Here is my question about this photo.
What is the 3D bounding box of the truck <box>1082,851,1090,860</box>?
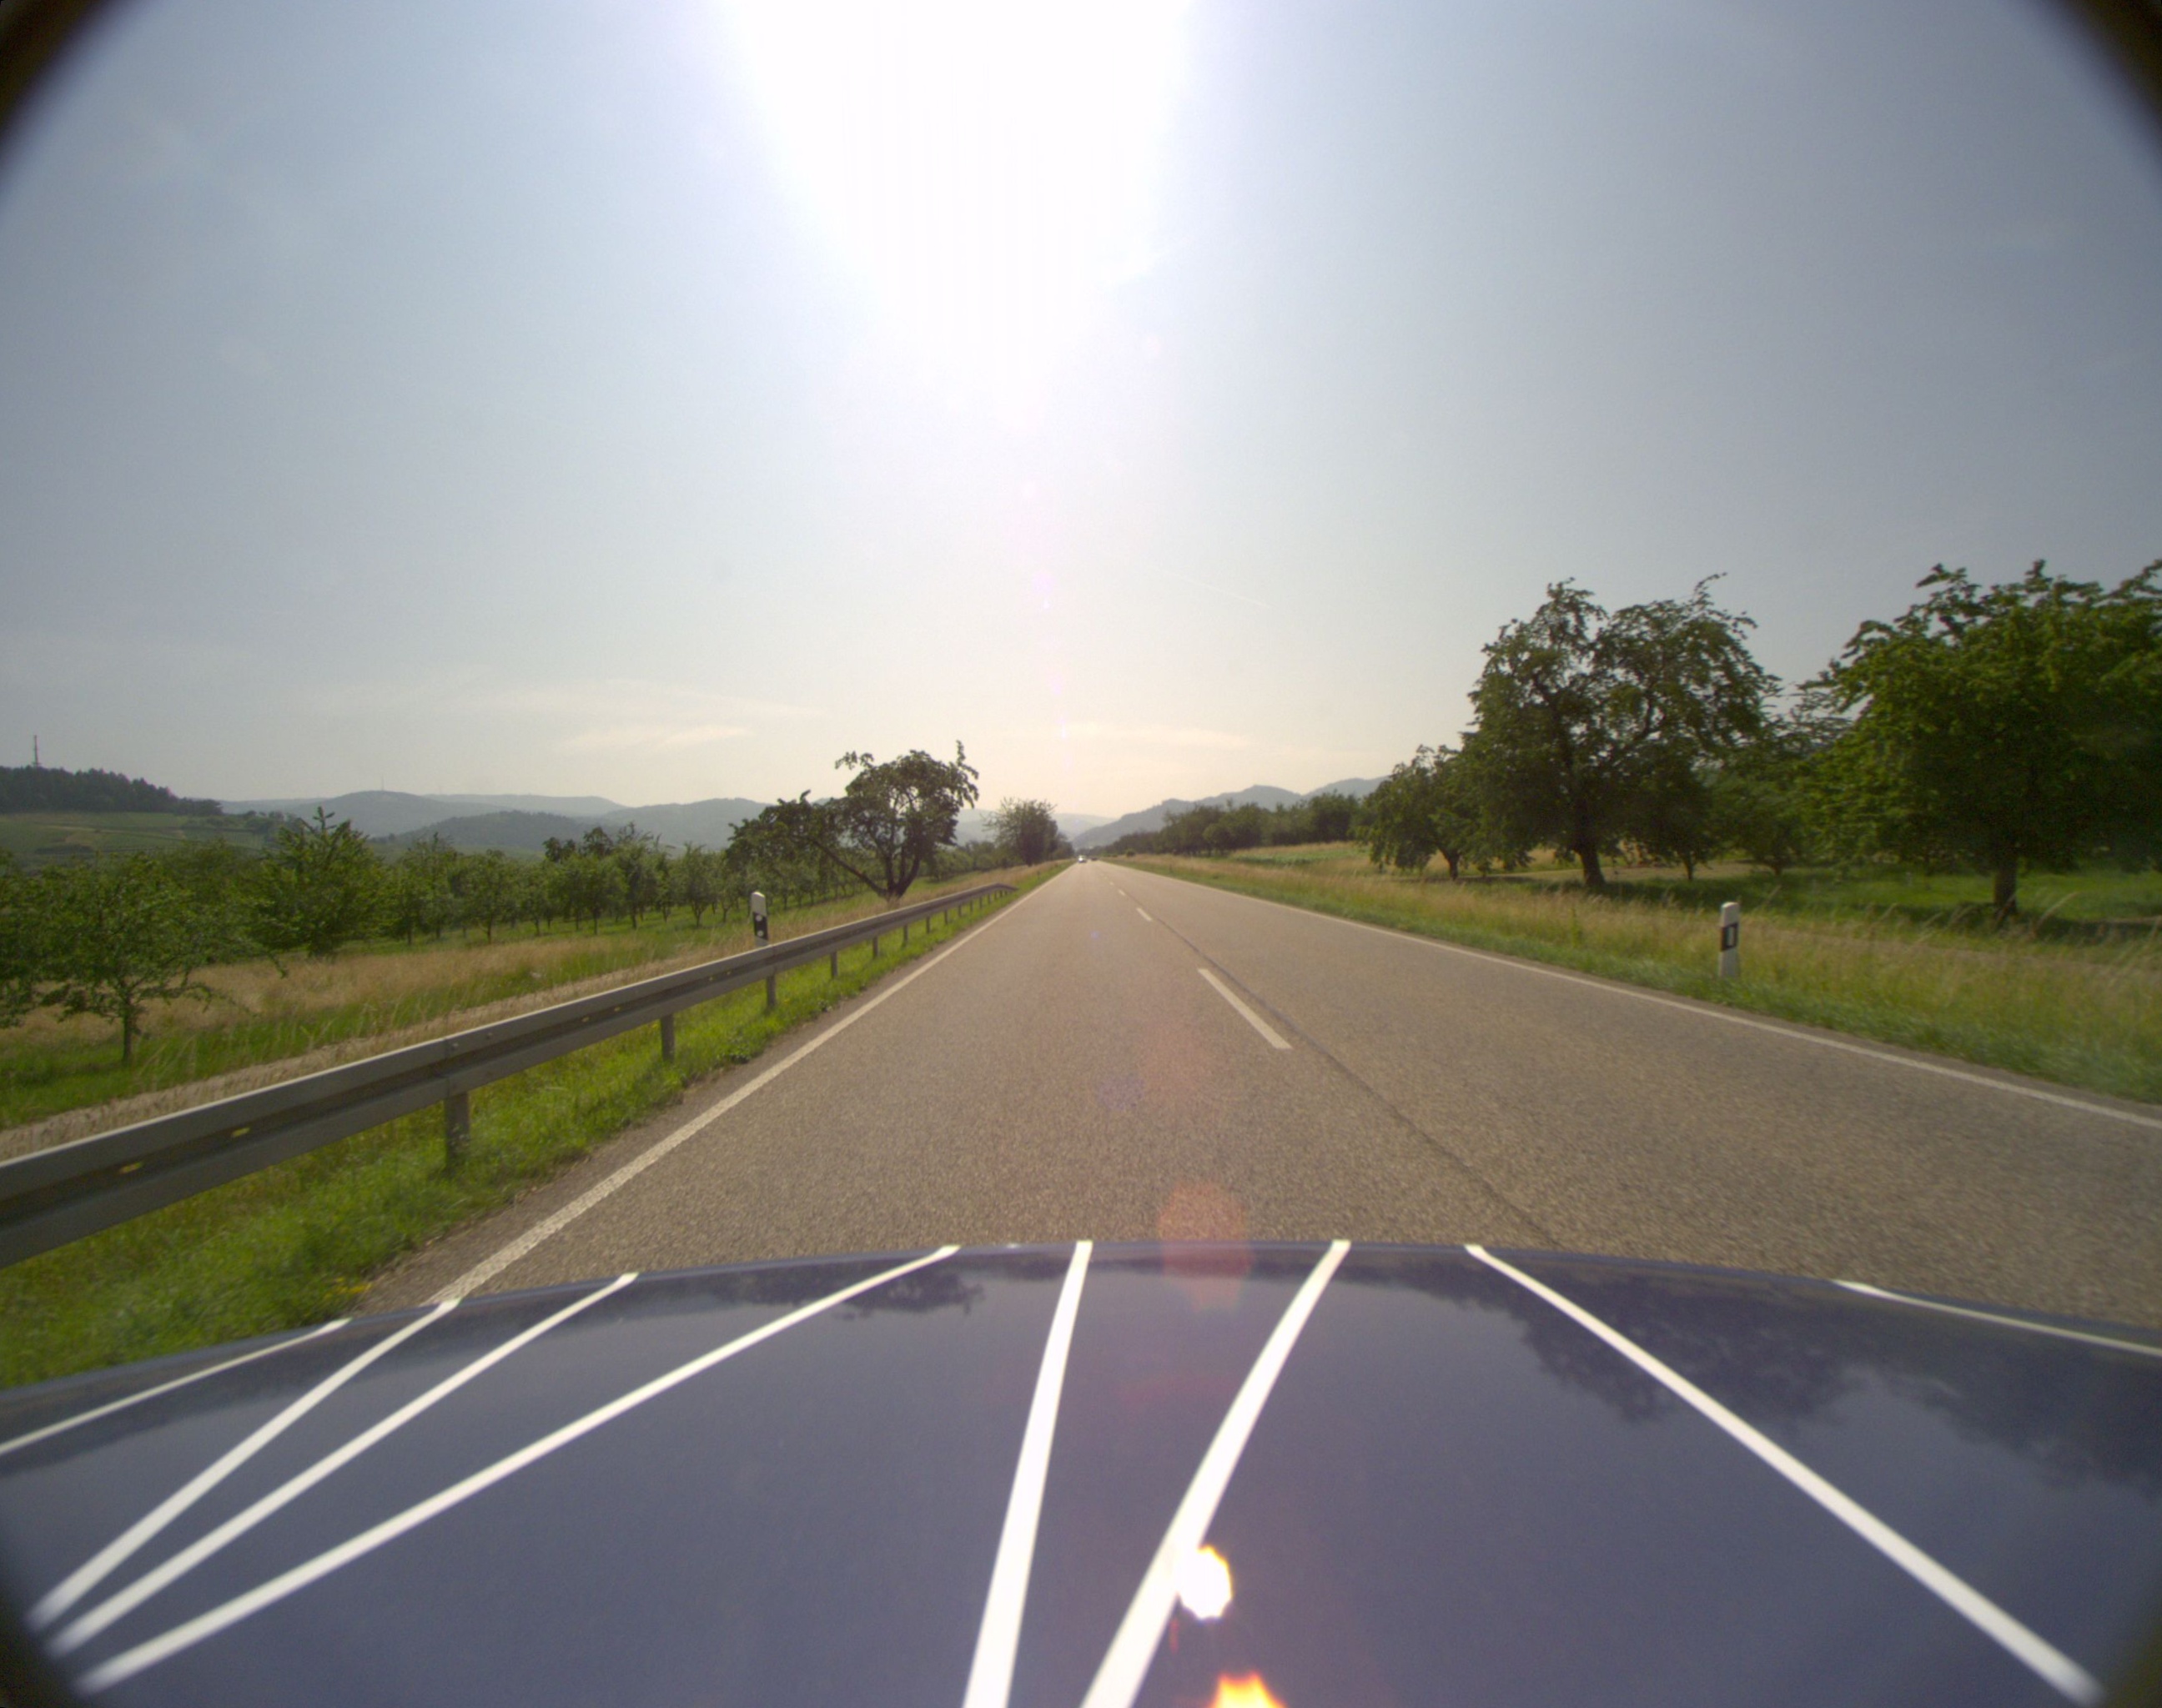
[{"bbox_3d":[1.309,0.492,202.974,2.031,2.232,4.765,-2,1,2],"label":"truck"}]
